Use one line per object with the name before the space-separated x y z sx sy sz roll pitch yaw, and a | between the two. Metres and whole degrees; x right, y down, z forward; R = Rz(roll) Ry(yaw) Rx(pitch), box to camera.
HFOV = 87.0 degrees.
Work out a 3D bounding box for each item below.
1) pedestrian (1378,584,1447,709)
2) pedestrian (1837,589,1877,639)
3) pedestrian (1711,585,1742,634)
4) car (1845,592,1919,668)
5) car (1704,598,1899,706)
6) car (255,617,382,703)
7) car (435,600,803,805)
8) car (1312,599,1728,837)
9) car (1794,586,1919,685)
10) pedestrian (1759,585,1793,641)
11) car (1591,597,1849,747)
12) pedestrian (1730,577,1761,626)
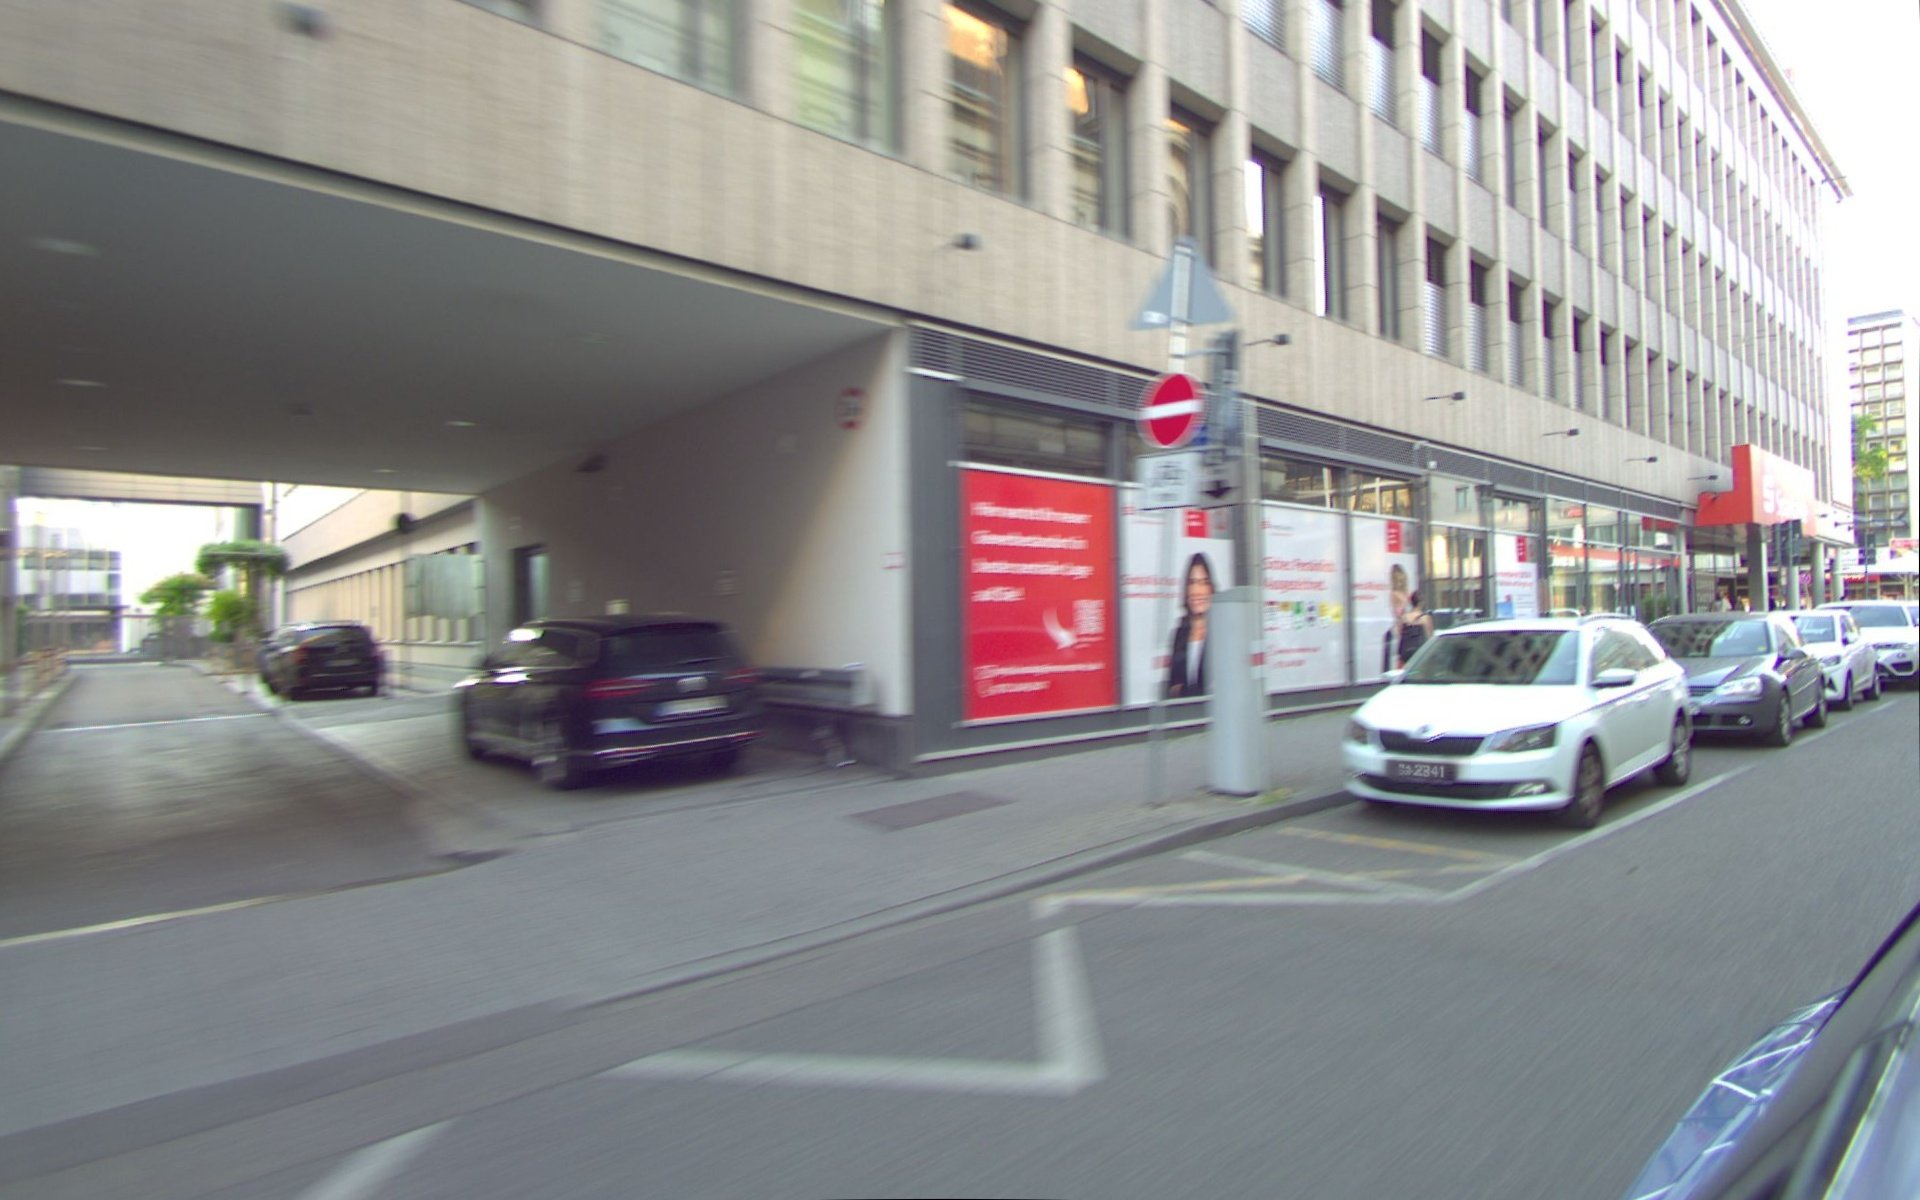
pedestrian | 6.181 0.609 13.825 0.639 1.656 0.649 0 0 -41
pedestrian | 32.789 0.510 36.994 0.785 1.784 0.687 0 -1 1
pedestrian | 27.950 0.341 36.913 0.797 1.784 0.676 -1 -2 45
car | 22.051 0.660 23.333 4.630 1.619 1.742 0 -3 -40
car | 13.336 0.756 15.978 3.800 1.466 1.659 -1 -2 -40
car | -13.384 1.197 21.035 1.675 1.579 3.680 -1 -1 -41
car | -3.553 0.844 9.972 1.884 1.520 4.408 -1 -1 -41
car | 4.846 0.782 8.486 4.233 1.466 1.659 -1 -2 -41
car | 17.538 0.614 19.351 4.732 1.687 1.777 -1 -2 -43
pedestrian | 28.731 0.458 35.623 0.675 1.943 0.798 1 -1 -41
car | 9.325 0.752 12.277 4.369 1.466 1.658 -1 -2 -42
pedestrian | 28.917 0.057 37.243 0.676 1.784 0.797 1 -2 -44
